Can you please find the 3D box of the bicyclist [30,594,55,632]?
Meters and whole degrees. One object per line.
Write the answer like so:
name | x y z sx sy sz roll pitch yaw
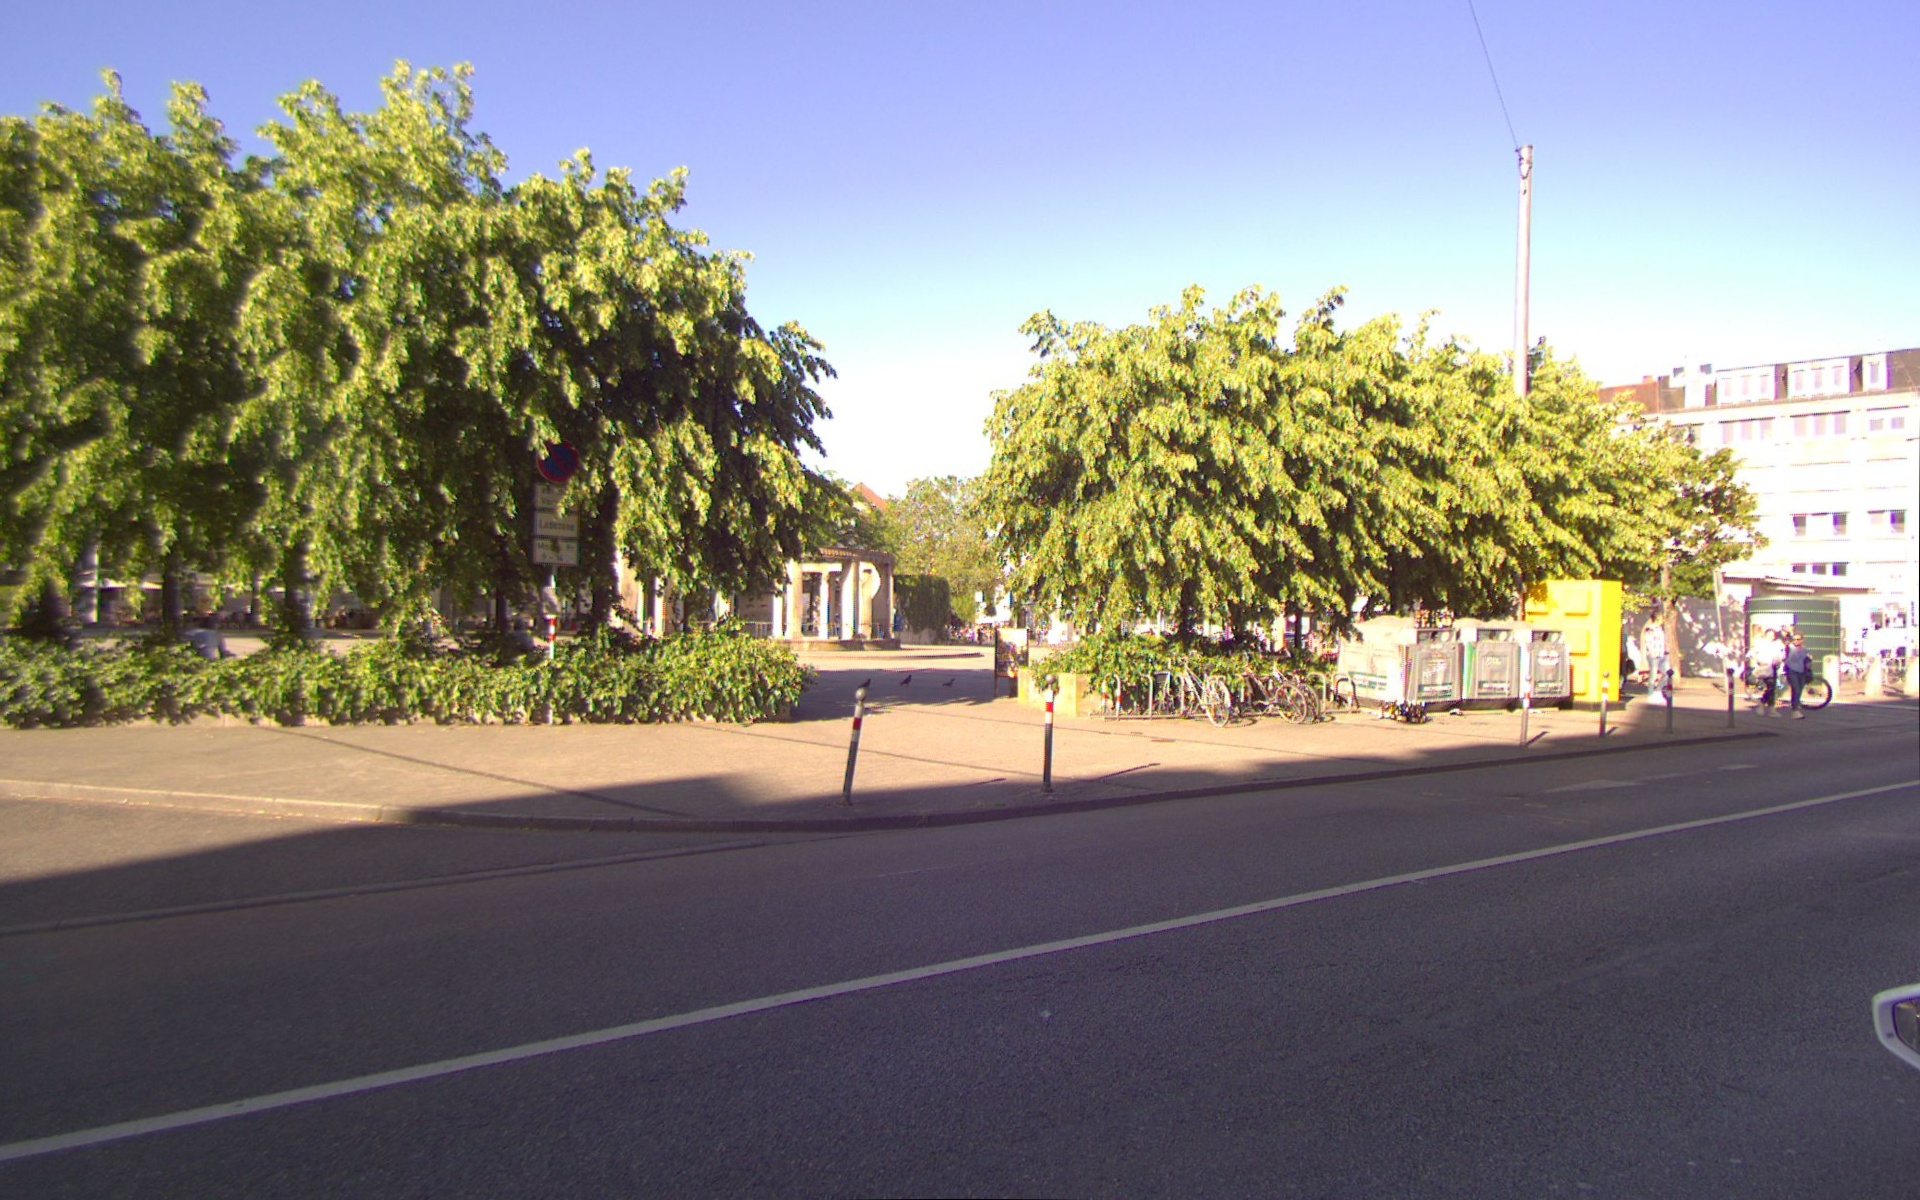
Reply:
bicyclist | -35.415 0.505 38.789 0.668 1.447 0.690 1 -1 -41

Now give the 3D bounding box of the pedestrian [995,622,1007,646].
pedestrian | 3.655 3.031 88.978 0.886 2.041 1.286 0 1 10

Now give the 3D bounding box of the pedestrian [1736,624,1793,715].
pedestrian | 15.710 1.345 19.627 0.661 1.751 0.549 1 -1 3

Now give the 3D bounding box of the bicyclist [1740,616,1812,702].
bicyclist | 18.233 1.299 22.458 0.773 1.862 0.952 1 0 -6

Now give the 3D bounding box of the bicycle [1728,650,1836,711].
bicycle | 18.247 1.762 22.370 0.528 1.154 2.065 1 1 -6

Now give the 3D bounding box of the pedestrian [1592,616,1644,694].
pedestrian | 16.059 1.332 24.529 0.727 1.851 0.847 1 -1 4

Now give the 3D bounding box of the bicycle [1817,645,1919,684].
bicycle | 30.353 2.126 33.567 0.833 1.171 2.493 1 -1 -31

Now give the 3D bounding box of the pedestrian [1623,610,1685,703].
pedestrian | 15.195 1.214 22.007 0.699 1.981 0.828 1 0 -18

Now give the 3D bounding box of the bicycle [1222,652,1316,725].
bicycle | 4.841 1.362 15.819 0.425 1.036 1.561 1 -1 -28

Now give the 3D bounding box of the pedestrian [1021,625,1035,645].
pedestrian | 6.998 3.646 104.048 1.252 2.040 1.285 1 -1 -4

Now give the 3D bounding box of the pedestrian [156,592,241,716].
pedestrian | -11.295 0.781 14.921 0.725 1.781 0.895 1 -1 -19

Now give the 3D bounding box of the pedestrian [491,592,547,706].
pedestrian | -7.121 0.784 16.242 0.725 1.781 0.895 1 -1 -19

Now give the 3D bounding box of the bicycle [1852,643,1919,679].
bicycle | 32.568 2.112 34.732 0.833 1.171 2.449 1 -1 -31

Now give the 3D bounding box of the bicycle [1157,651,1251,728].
bicycle | 3.672 1.326 15.235 0.425 1.031 1.590 1 0 -28

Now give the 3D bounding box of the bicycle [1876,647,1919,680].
bicycle | 36.200 2.412 37.730 0.834 1.171 2.517 1 -1 -34

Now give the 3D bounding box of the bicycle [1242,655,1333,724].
bicycle | 5.236 1.411 16.133 0.425 0.971 1.518 0 0 -28

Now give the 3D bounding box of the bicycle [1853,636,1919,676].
bicycle | 33.928 2.022 36.222 0.913 1.341 2.461 1 -1 -35

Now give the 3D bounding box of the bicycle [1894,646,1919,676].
bicycle | 38.124 2.404 39.209 0.834 1.171 2.308 1 -1 -34

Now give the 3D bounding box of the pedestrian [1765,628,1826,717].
pedestrian | 16.314 1.405 19.616 0.609 1.684 0.685 1 -1 -1

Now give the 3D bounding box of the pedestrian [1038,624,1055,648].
pedestrian | 7.663 3.179 89.082 1.252 2.040 1.285 1 -1 -4

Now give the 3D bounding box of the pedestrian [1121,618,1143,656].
pedestrian | 9.185 1.965 53.665 0.913 2.040 1.185 1 -1 0

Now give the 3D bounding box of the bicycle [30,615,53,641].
bicycle | -35.438 1.108 38.775 0.584 0.966 1.884 2 -3 -41

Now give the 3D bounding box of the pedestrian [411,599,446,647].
pedestrian | -20.097 0.861 37.989 0.723 1.781 0.898 1 -1 29
